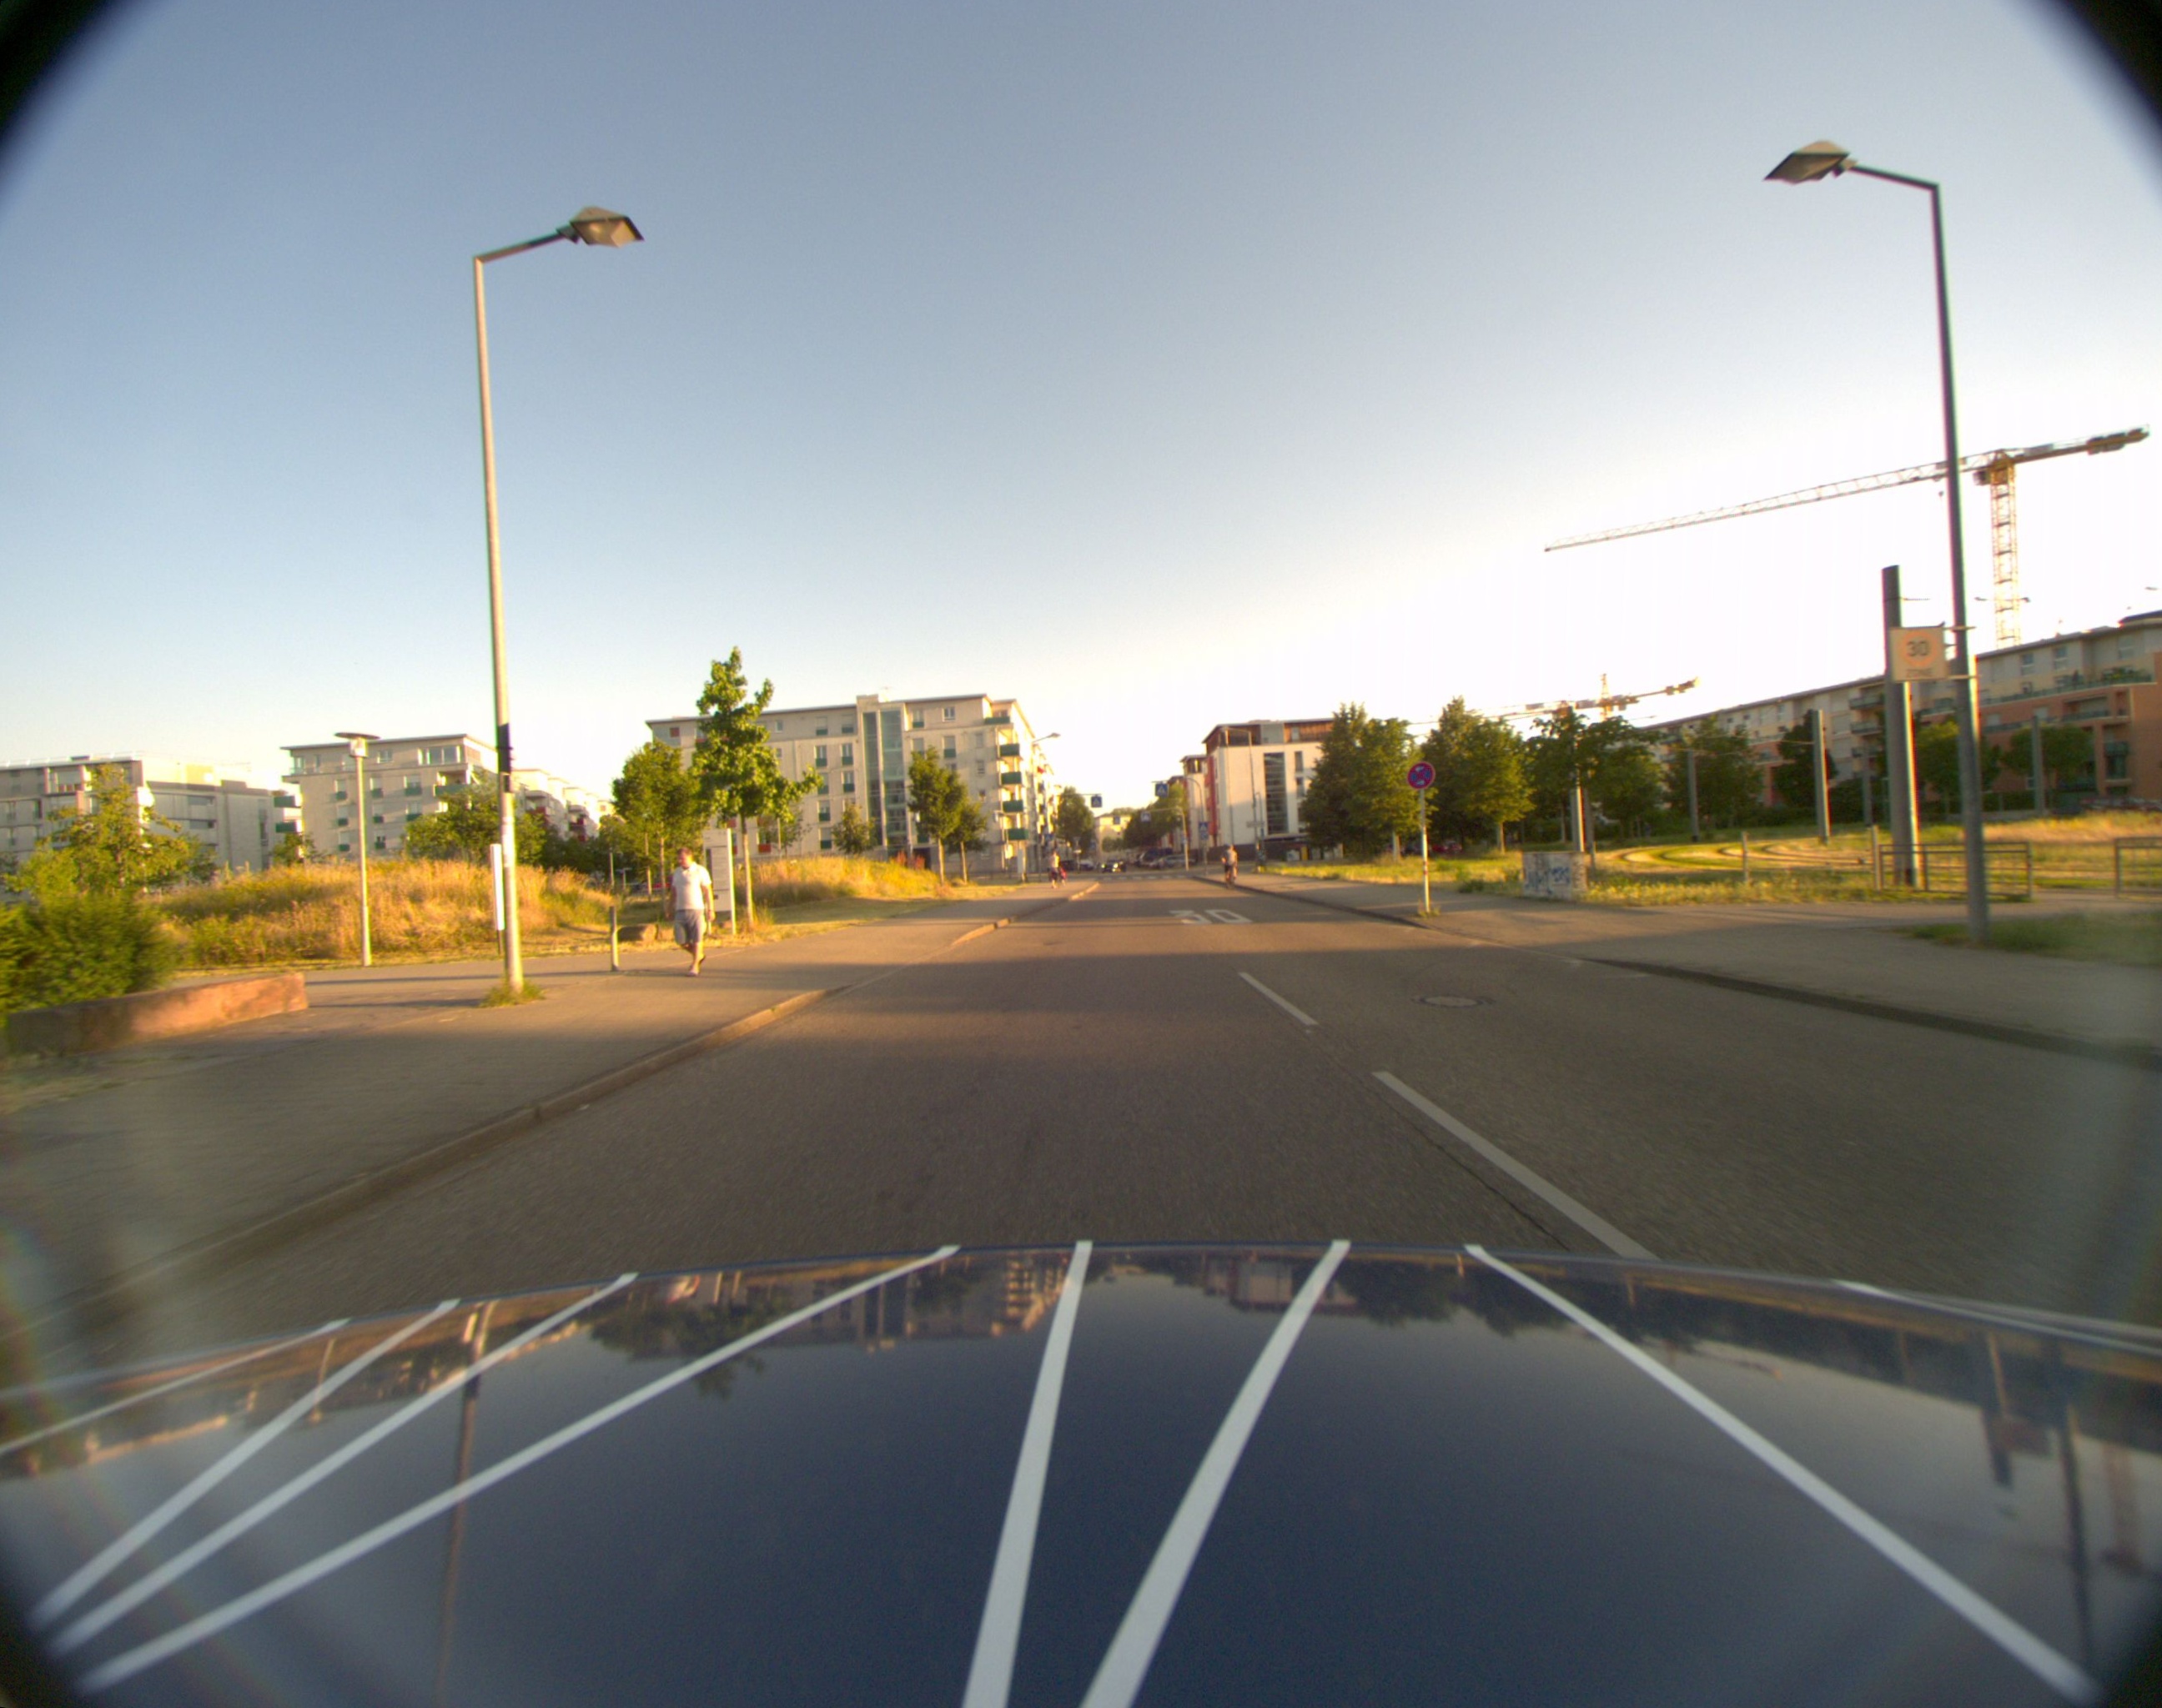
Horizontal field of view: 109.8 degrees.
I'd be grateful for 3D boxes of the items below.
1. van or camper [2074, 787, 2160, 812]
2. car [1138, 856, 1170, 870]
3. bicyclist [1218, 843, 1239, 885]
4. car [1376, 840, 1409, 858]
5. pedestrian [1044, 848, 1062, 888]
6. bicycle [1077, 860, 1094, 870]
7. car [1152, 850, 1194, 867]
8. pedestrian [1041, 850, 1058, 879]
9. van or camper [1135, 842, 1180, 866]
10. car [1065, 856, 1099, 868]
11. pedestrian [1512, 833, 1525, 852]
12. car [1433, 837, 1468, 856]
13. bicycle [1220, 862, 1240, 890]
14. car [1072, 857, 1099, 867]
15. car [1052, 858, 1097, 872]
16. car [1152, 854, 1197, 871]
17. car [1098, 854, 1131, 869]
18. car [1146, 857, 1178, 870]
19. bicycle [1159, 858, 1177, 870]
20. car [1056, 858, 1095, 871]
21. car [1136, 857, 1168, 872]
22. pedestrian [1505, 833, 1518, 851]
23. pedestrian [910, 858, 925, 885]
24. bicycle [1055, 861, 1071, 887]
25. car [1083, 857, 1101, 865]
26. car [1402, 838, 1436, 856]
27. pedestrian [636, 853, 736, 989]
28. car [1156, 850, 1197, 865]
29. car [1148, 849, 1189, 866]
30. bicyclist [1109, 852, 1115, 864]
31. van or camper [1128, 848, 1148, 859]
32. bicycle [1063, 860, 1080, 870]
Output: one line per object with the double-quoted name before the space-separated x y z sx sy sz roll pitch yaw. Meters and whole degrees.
"van or camper" 85.927 -4.484 63.116 1.833 1.684 3.881 -3 -1 3
"car" 10.061 1.239 105.239 4.102 1.616 1.724 -4 0 -3
"bicyclist" 5.943 0.407 30.594 0.616 1.652 1.037 -3 -1 5
"car" 28.056 -0.447 68.500 1.689 1.513 3.411 -3 0 4
"pedestrian" -1.323 0.652 35.673 0.595 1.791 0.818 -3 -1 7
"bicycle" 0.505 1.180 83.016 1.839 1.065 0.473 -1 -1 -2
"car" 10.855 0.518 90.186 4.783 1.546 1.711 -5 -1 5
"pedestrian" -1.878 0.647 45.851 0.801 1.719 0.768 -3 -1 9
"van or camper" 11.598 0.006 115.938 6.314 3.068 2.442 -4 0 -3
"car" 0.086 0.984 98.242 4.294 1.499 1.685 -1 -1 -2
"pedestrian" 40.276 -1.075 69.896 0.744 1.657 0.623 -5 1 -22
"car" 32.853 -0.654 67.672 1.593 1.491 3.411 -3 0 4
"bicycle" 5.959 0.871 30.544 0.540 1.036 1.926 -3 -1 5
"car" 0.797 1.346 123.056 4.250 1.527 1.693 -1 0 3
"car" -0.750 1.254 85.373 4.885 1.449 1.938 -1 -1 4
"car" 10.801 1.010 87.853 4.915 1.469 1.711 -5 -1 0
"car" 3.405 0.762 76.297 1.774 1.454 4.186 -1 -1 25
"car" 10.918 1.234 102.745 3.919 1.506 1.724 -4 0 -3
"bicycle" 9.427 1.097 82.578 1.821 1.060 0.567 -6 -1 -1
"car" -0.625 1.219 88.072 4.411 1.499 1.743 -1 -1 5
"car" 9.359 1.384 100.470 3.919 1.700 1.724 -4 0 -3
"pedestrian" 39.958 -1.125 70.514 0.713 1.590 0.655 -5 1 -24
"pedestrian" -11.109 1.188 51.609 0.733 1.773 0.802 -3 -1 3
"bicycle" -0.827 0.927 35.576 0.451 1.161 1.942 -3 -1 6
"car" 2.540 1.609 176.677 4.250 1.629 1.693 -1 0 3
"car" 30.303 -0.619 68.243 1.593 1.491 3.411 -3 0 4
"pedestrian" -5.341 0.872 10.325 0.833 1.756 0.818 -1 2 7
"car" 10.713 0.396 85.180 4.291 1.449 1.680 -3 -1 0
"car" 10.753 0.456 93.469 4.759 1.575 1.758 -5 -1 -2
"bicyclist" 4.466 0.618 108.208 0.767 1.617 0.663 -3 -1 0
"van or camper" 12.631 -0.127 167.991 4.250 2.520 1.761 -1 0 2
"bicycle" -1.005 1.174 82.342 1.792 1.035 0.567 -1 -1 -2
